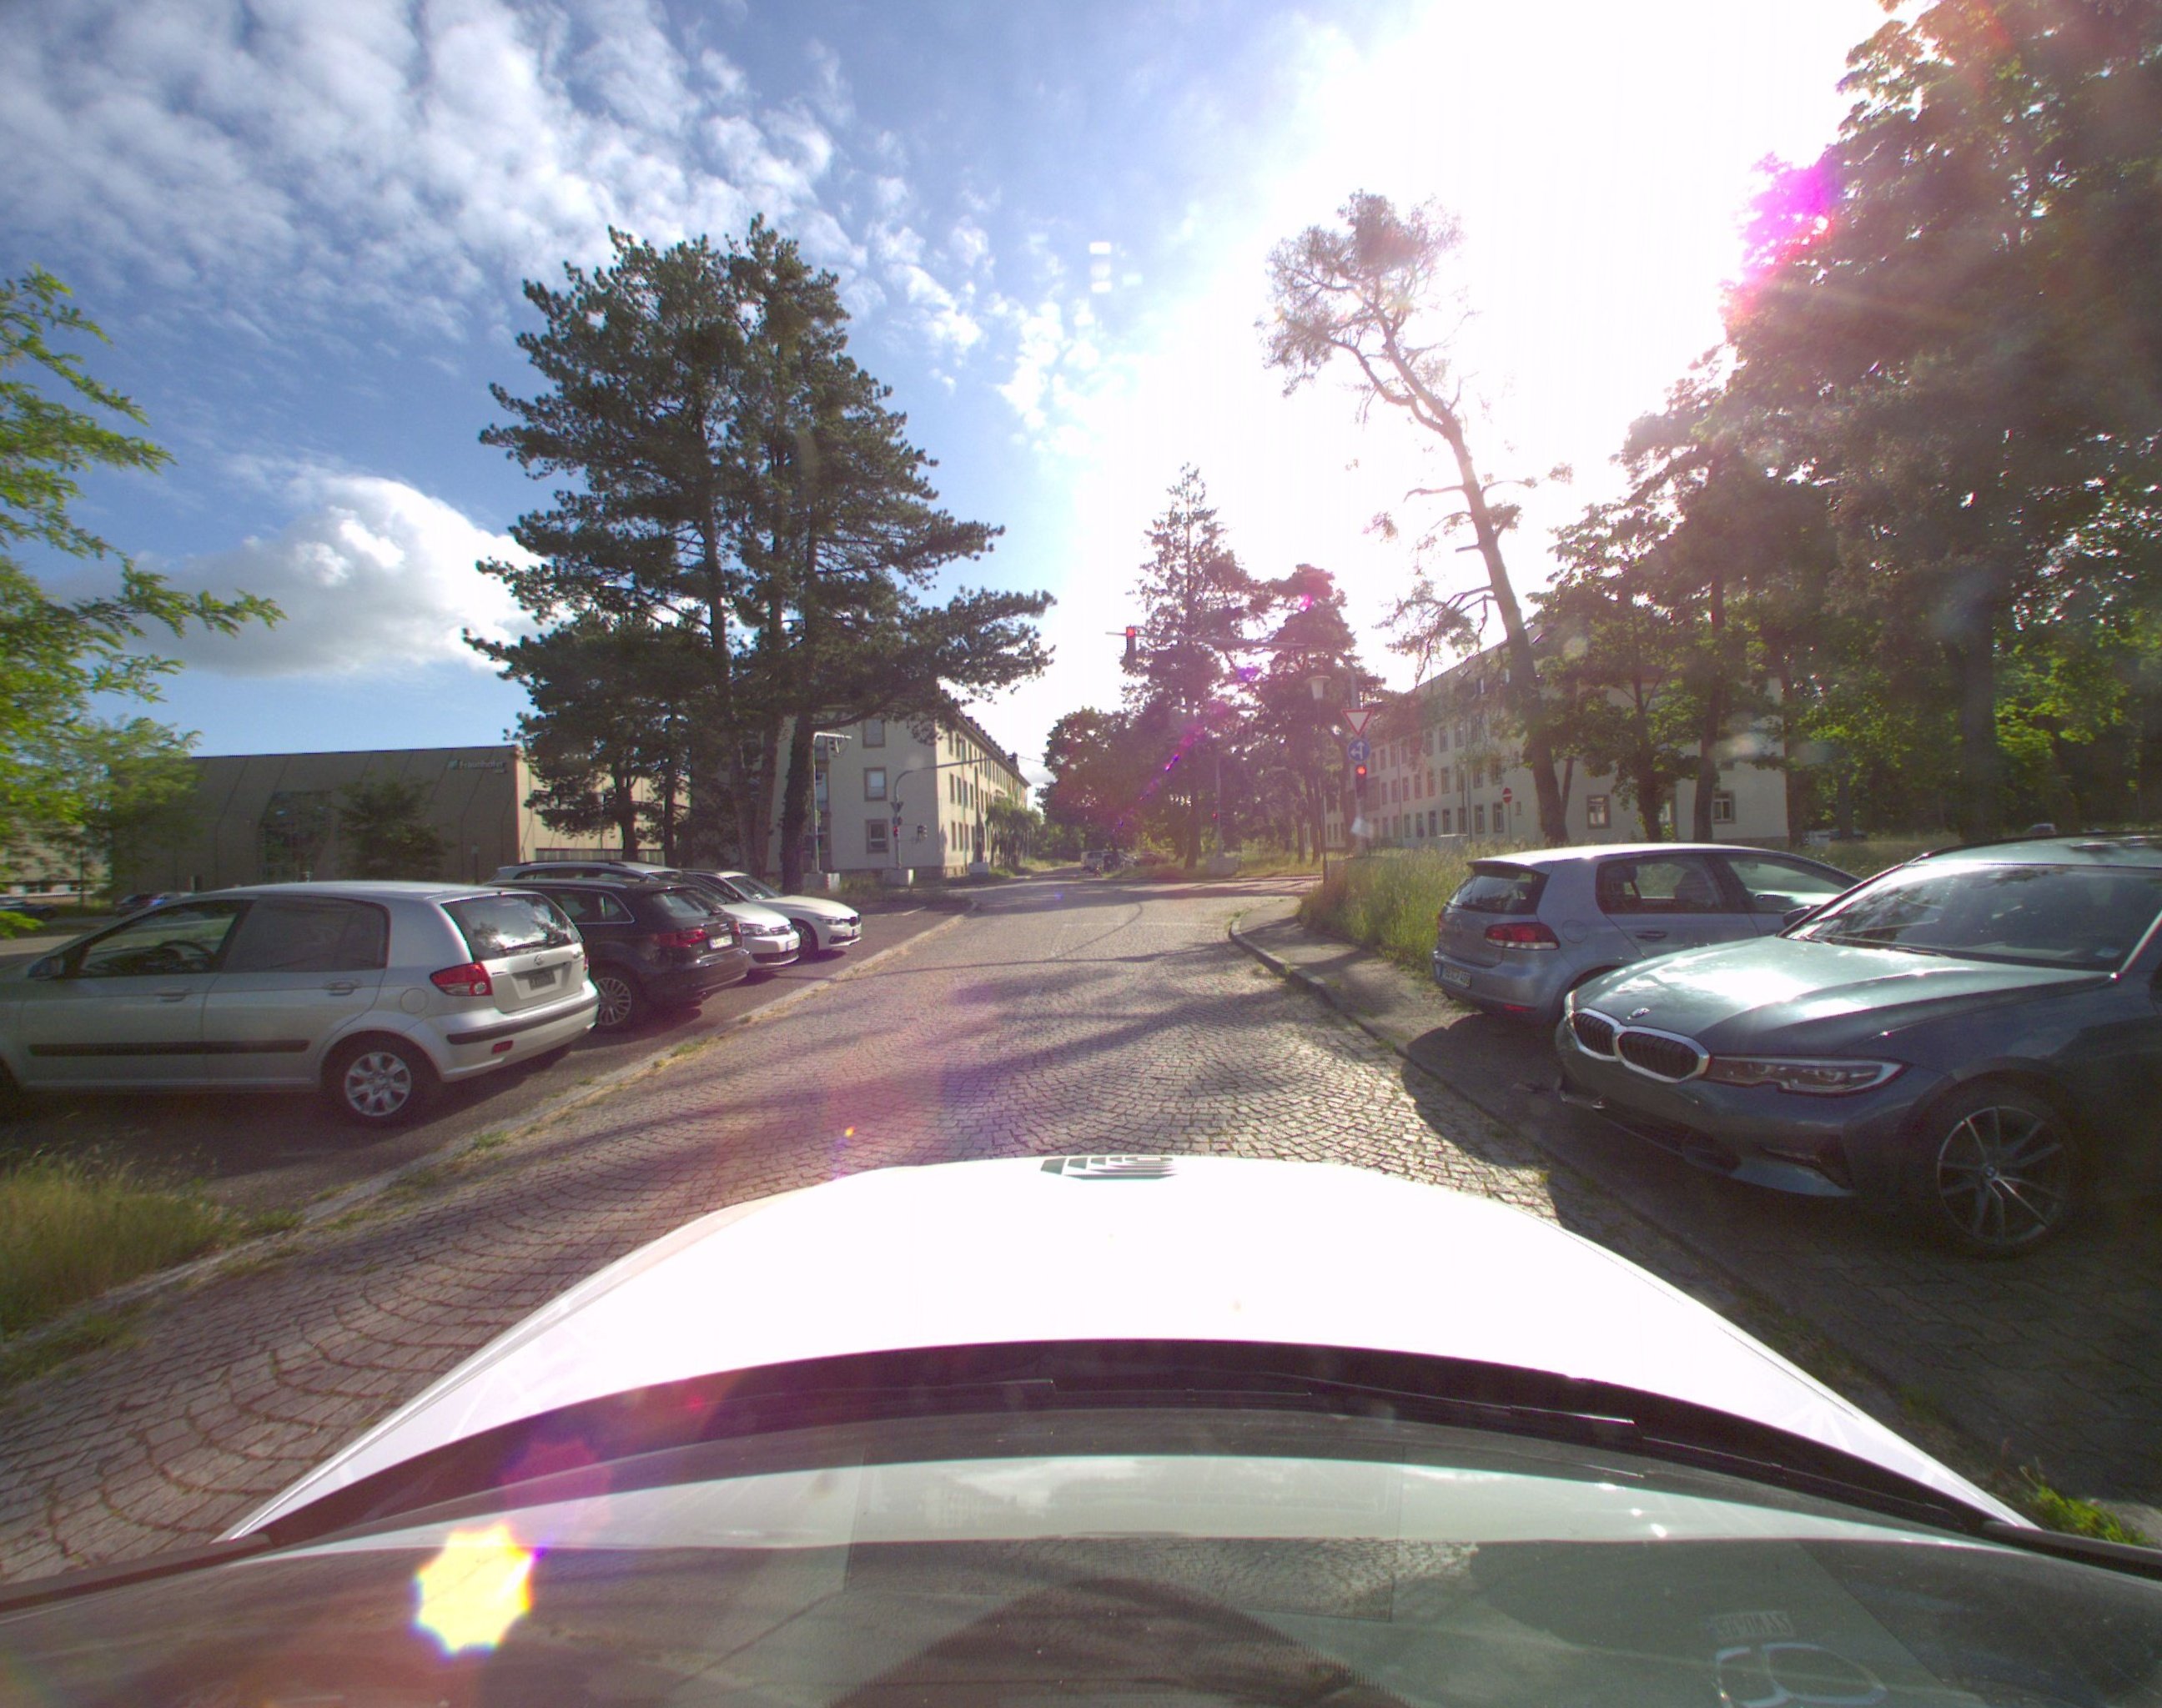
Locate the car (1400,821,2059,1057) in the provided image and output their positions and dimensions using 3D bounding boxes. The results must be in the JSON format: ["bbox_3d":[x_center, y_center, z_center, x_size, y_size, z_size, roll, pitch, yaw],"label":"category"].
[{"bbox_3d":[4.817,0.591,6.482,3.868,1.415,1.637,-4,0,1],"label":"car"}]

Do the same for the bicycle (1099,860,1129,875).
[{"bbox_3d":[2.312,0.951,57.147,2.002,1.010,0.630,0,-1,-7],"label":"bicycle"}]

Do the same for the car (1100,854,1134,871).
[{"bbox_3d":[3.108,0.735,69.904,2.776,1.467,1.669,0,-1,-4],"label":"car"}]

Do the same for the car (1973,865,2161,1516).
[{"bbox_3d":[4.546,0.636,1.197,4.415,1.415,1.781,-4,0,1],"label":"car"}]

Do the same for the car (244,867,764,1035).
[{"bbox_3d":[-5.595,0.891,8.339,3.976,1.480,1.802,0,0,-2],"label":"car"}]

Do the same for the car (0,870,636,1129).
[{"bbox_3d":[-5.444,0.879,5.684,3.736,1.487,1.645,0,0,-2],"label":"car"}]

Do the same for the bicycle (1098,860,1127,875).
[{"bbox_3d":[2.259,0.960,58.031,2.026,1.010,0.626,0,-1,-7],"label":"bicycle"}]

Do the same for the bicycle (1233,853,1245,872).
[{"bbox_3d":[8.374,0.450,43.250,0.300,0.961,1.584,0,-1,-2],"label":"bicycle"}]

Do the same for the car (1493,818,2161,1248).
[{"bbox_3d":[4.629,0.599,3.778,4.542,1.415,1.637,-4,0,1],"label":"car"}]

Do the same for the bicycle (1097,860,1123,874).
[{"bbox_3d":[2.103,0.969,58.906,1.835,1.010,0.634,0,-1,-7],"label":"bicycle"}]

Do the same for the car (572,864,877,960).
[{"bbox_3d":[-5.829,0.927,13.746,4.322,1.468,1.829,0,0,-2],"label":"car"}]

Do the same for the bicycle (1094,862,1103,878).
[{"bbox_3d":[1.127,1.011,51.827,0.466,1.010,1.584,0,-1,-2],"label":"bicycle"}]

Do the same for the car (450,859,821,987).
[{"bbox_3d":[-5.955,0.877,11.306,4.069,1.593,1.884,0,0,-2],"label":"car"}]

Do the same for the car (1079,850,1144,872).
[{"bbox_3d":[2.726,0.643,73.513,5.534,2.014,1.988,0,-1,-17],"label":"car"}]

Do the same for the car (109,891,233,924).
[{"bbox_3d":[-47.462,2.751,42.590,1.895,1.433,4.002,-2,-1,2],"label":"car"}]

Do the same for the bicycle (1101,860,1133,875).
[{"bbox_3d":[2.437,0.934,55.432,2.107,1.010,0.619,0,-1,-7],"label":"bicycle"}]

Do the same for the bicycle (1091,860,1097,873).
[{"bbox_3d":[1.055,0.994,65.108,0.416,1.010,1.484,0,-1,2],"label":"bicycle"}]
